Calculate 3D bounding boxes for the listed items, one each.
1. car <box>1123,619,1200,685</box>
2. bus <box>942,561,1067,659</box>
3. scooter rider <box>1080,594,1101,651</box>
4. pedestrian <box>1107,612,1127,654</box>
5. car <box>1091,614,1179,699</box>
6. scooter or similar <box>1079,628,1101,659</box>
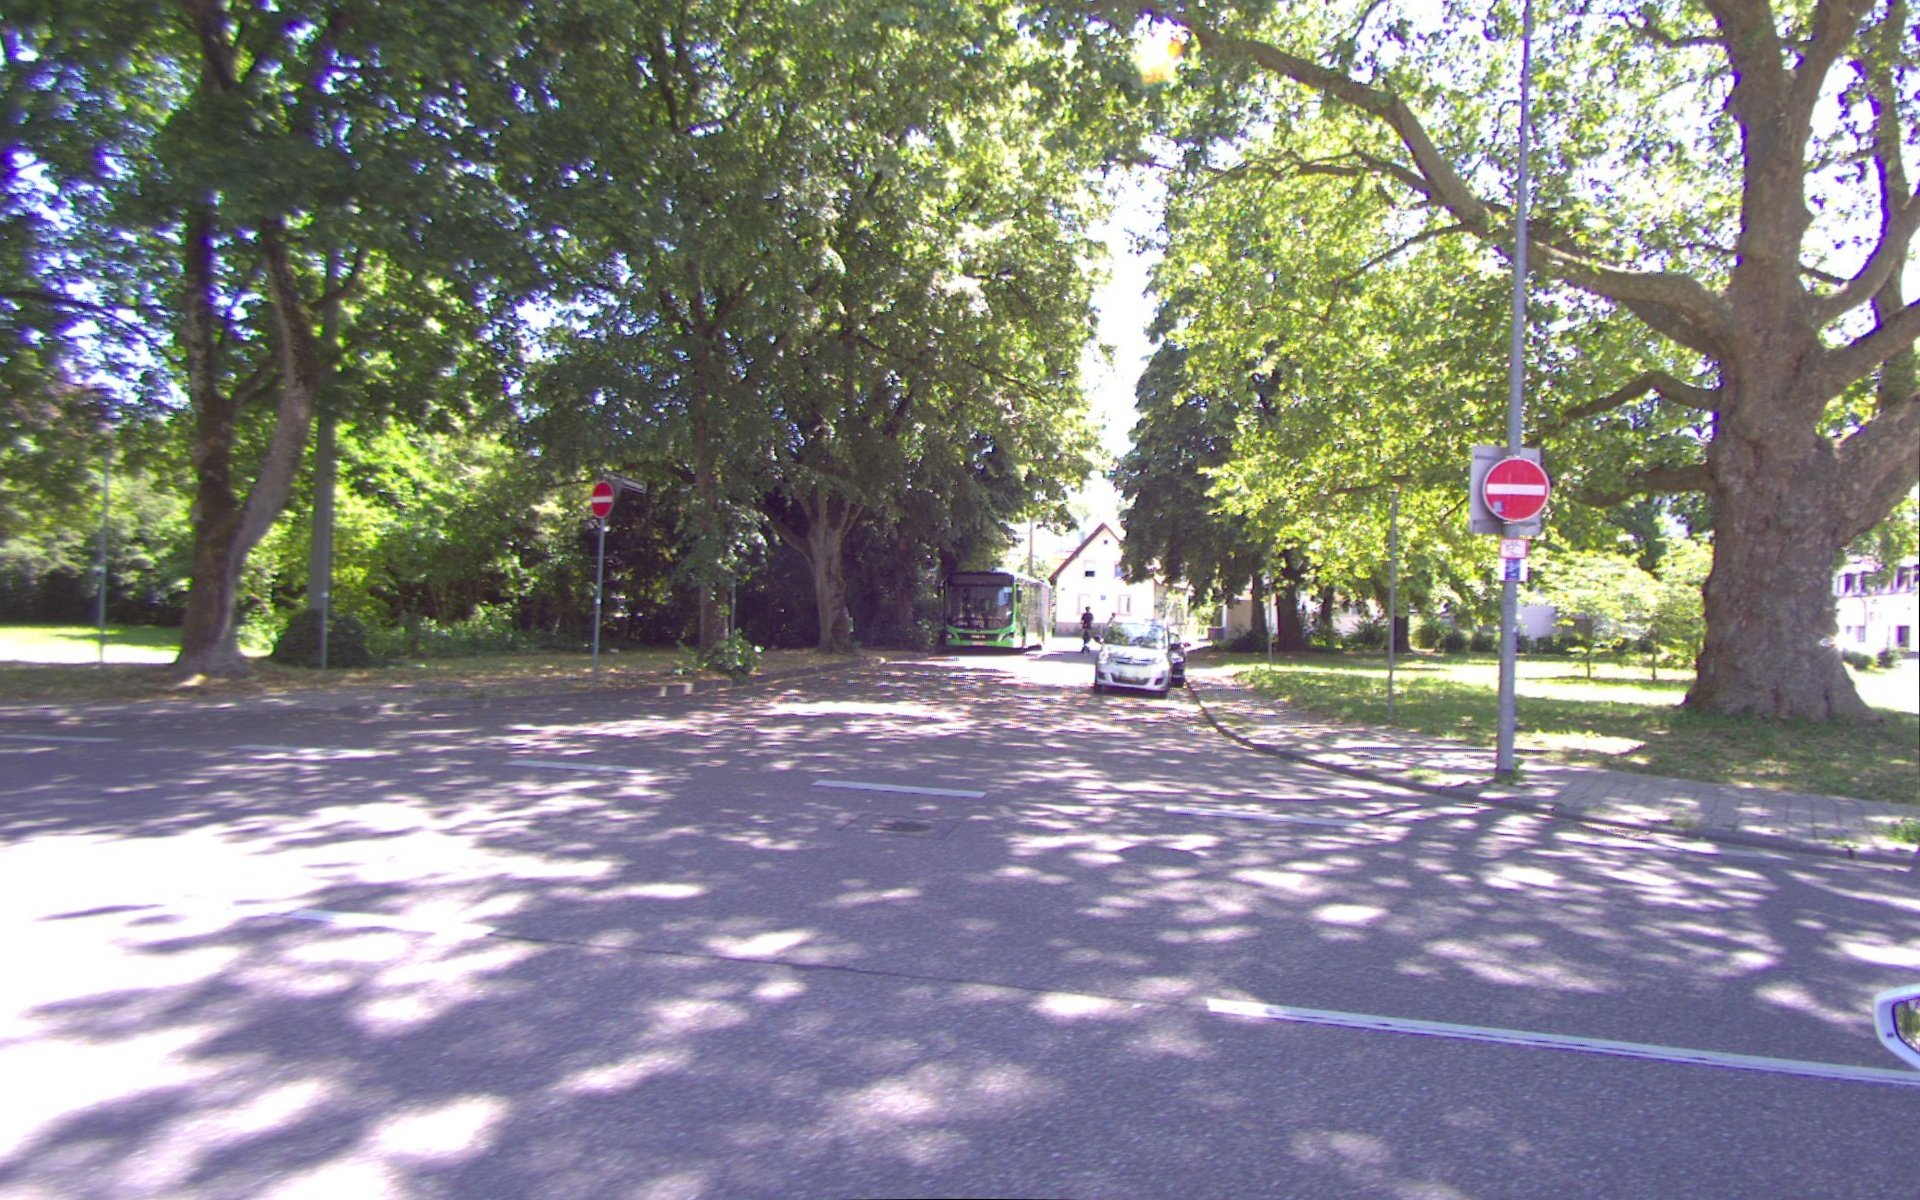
[{"bbox_3d":[5.195,1.267,25.956,1.720,1.458,4.506,3,0,11],"label":"car"},{"bbox_3d":[2.380,0.504,42.707,2.819,3.338,15.962,1,-1,11],"label":"bus"},{"bbox_3d":[5.430,0.932,41.777,0.726,2.348,0.927,1,0,14],"label":"scooter rider"},{"bbox_3d":[6.890,1.445,44.178,0.707,1.826,0.941,1,0,17],"label":"pedestrian"},{"bbox_3d":[3.653,1.101,20.764,1.567,1.517,3.488,3,0,11],"label":"car"},{"bbox_3d":[5.403,1.799,41.760,0.726,1.199,1.520,1,-1,14],"label":"scooter or similar"}]
